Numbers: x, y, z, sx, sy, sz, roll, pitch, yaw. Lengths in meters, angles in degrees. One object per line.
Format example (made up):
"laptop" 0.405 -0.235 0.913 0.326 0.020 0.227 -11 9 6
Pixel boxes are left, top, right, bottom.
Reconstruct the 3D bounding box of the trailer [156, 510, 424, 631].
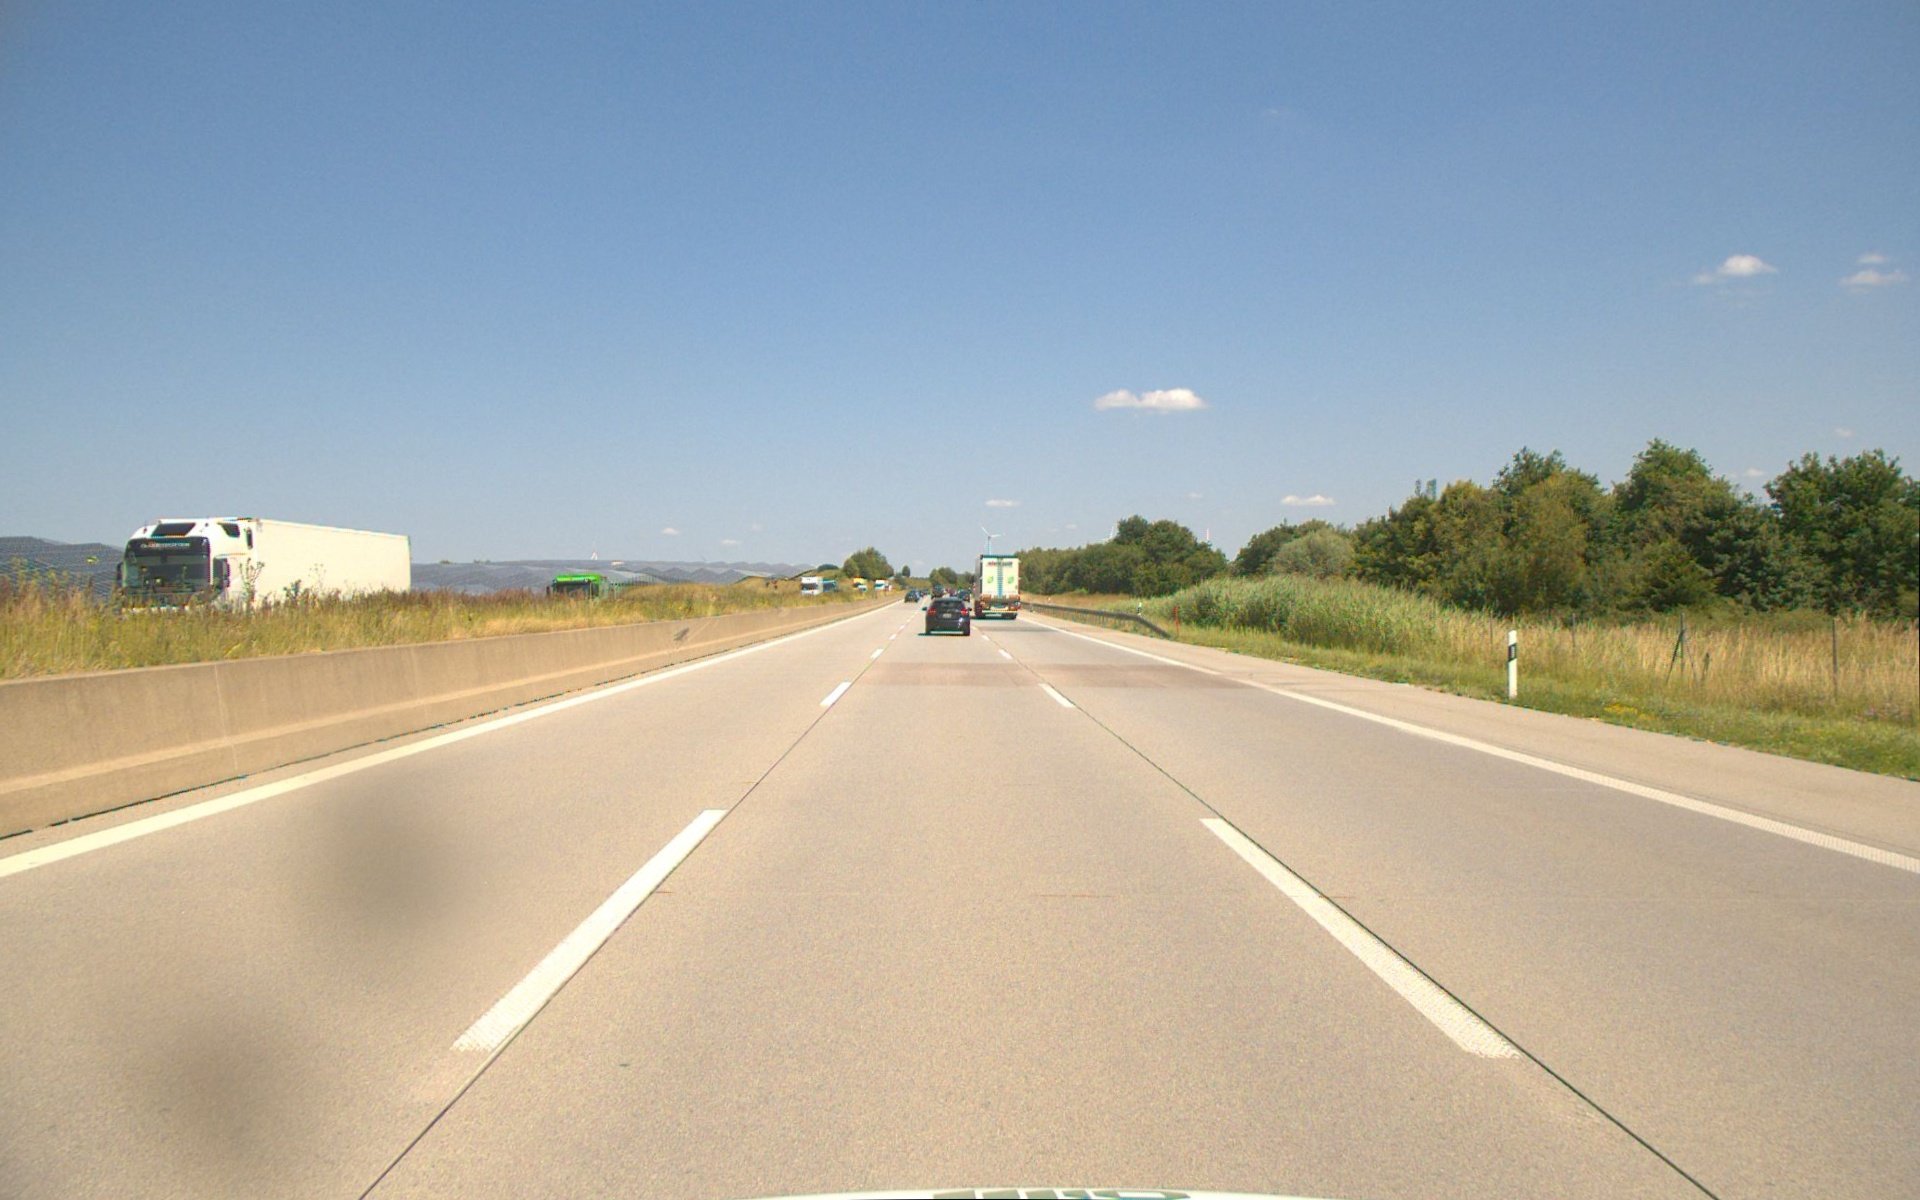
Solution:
"trailer" -20.522 -0.764 52.111 2.775 3.239 14.502 -1 0 -1

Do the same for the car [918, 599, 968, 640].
"car" -0.696 0.740 65.074 1.872 1.518 4.191 1 0 -1

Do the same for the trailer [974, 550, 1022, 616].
"trailer" 2.463 -1.081 110.869 2.794 4.113 12.711 1 0 0

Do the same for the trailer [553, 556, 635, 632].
"trailer" -21.680 -0.362 98.491 2.676 4.264 10.255 0 0 -1

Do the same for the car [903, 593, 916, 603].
"car" -6.910 -0.274 225.612 1.622 1.217 3.959 3 0 -1

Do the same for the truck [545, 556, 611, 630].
"truck" -21.655 -0.396 93.961 2.689 4.020 4.352 1 0 -1

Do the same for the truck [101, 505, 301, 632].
"truck" -20.409 -0.791 44.848 2.775 3.213 5.825 0 0 -1

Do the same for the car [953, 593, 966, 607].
"car" -0.118 -0.011 241.348 1.789 1.940 4.001 1 0 1
